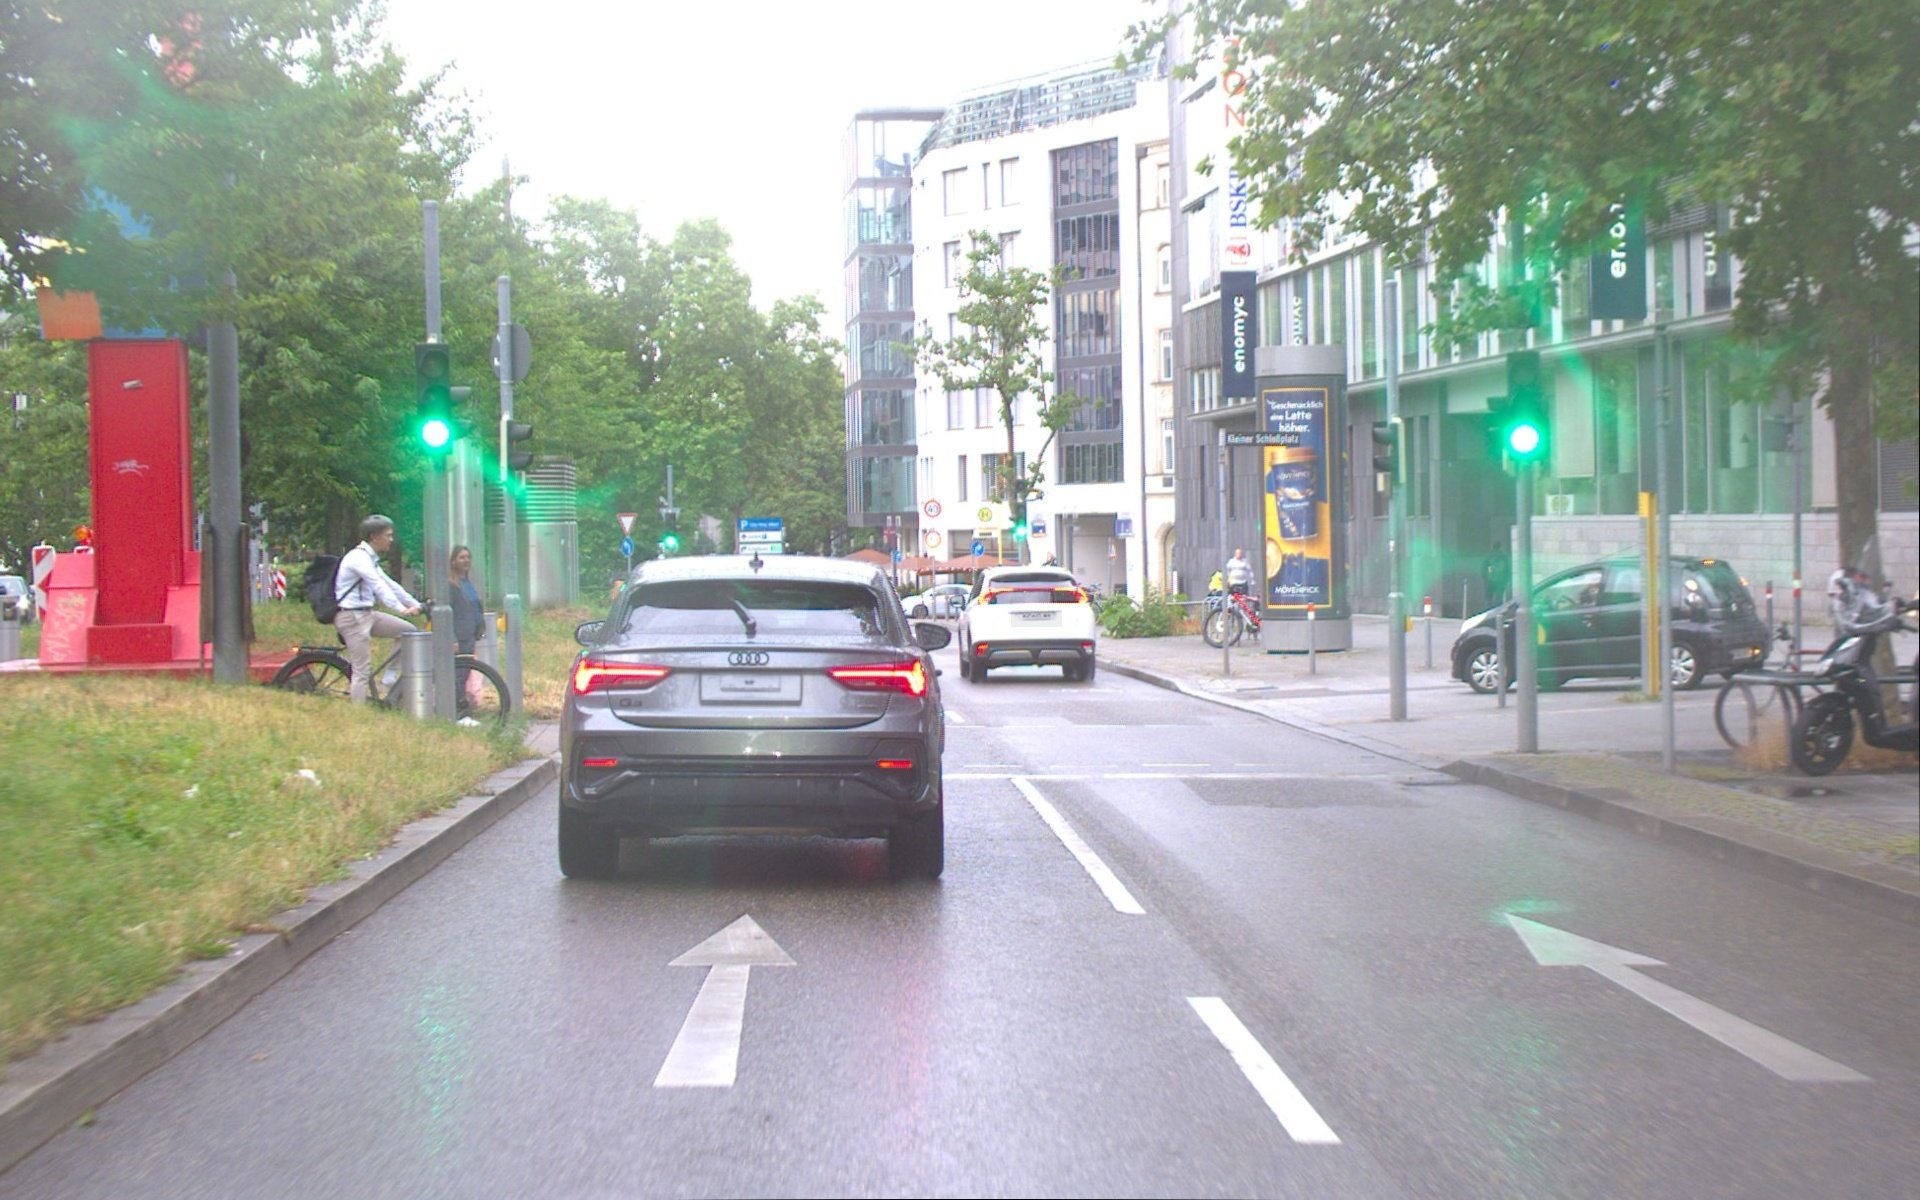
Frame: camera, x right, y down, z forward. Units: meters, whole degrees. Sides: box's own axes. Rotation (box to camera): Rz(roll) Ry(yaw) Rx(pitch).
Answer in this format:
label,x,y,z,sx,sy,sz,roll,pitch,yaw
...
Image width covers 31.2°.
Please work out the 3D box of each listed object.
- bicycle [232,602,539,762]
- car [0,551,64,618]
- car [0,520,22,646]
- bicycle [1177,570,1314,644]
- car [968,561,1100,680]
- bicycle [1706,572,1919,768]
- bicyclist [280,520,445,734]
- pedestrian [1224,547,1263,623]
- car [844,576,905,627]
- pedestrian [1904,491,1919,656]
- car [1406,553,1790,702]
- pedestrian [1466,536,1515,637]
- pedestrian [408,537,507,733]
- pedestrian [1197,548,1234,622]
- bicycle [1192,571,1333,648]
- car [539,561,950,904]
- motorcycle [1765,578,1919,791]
label,x,y,z,sx,sy,sz,roll,pitch,yaw
bicycle,-4.519,0.638,27.129,2.254,1.158,0.751,2,0,-1
car,-23.325,-0.380,84.925,1.732,1.553,4.001,-2,1,-7
car,-14.866,-0.208,49.486,1.993,1.820,4.001,-2,1,-7
bicycle,5.087,0.119,61.385,2.337,1.308,0.710,0,1,-7
car,1.048,0.270,50.157,1.849,1.663,4.038,0,1,0
bicycle,6.568,0.511,25.457,1.983,1.410,0.725,1,0,9
bicyclist,-4.707,0.209,27.132,1.104,1.616,0.751,3,0,0
pedestrian,7.605,-0.397,92.205,0.855,2.007,0.976,1,0,-5
car,-2.639,0.020,106.034,1.849,1.518,4.039,0,1,-2
pedestrian,11.456,-0.301,39.942,0.867,1.897,0.885,1,0,12
car,7.005,0.281,37.928,3.861,1.562,1.663,1,0,42
pedestrian,11.130,-0.284,72.080,0.936,2.108,1.075,1,0,12
pedestrian,-4.637,0.318,31.732,0.662,1.787,0.750,1,0,13
pedestrian,6.932,-0.403,93.363,0.855,2.007,0.976,1,0,-5
bicycle,5.226,0.153,59.514,2.337,1.308,0.710,0,1,-7
car,-0.988,0.578,17.546,1.849,1.518,4.039,0,1,0
motorcycle,6.513,0.565,23.221,2.029,1.410,0.725,1,0,9
